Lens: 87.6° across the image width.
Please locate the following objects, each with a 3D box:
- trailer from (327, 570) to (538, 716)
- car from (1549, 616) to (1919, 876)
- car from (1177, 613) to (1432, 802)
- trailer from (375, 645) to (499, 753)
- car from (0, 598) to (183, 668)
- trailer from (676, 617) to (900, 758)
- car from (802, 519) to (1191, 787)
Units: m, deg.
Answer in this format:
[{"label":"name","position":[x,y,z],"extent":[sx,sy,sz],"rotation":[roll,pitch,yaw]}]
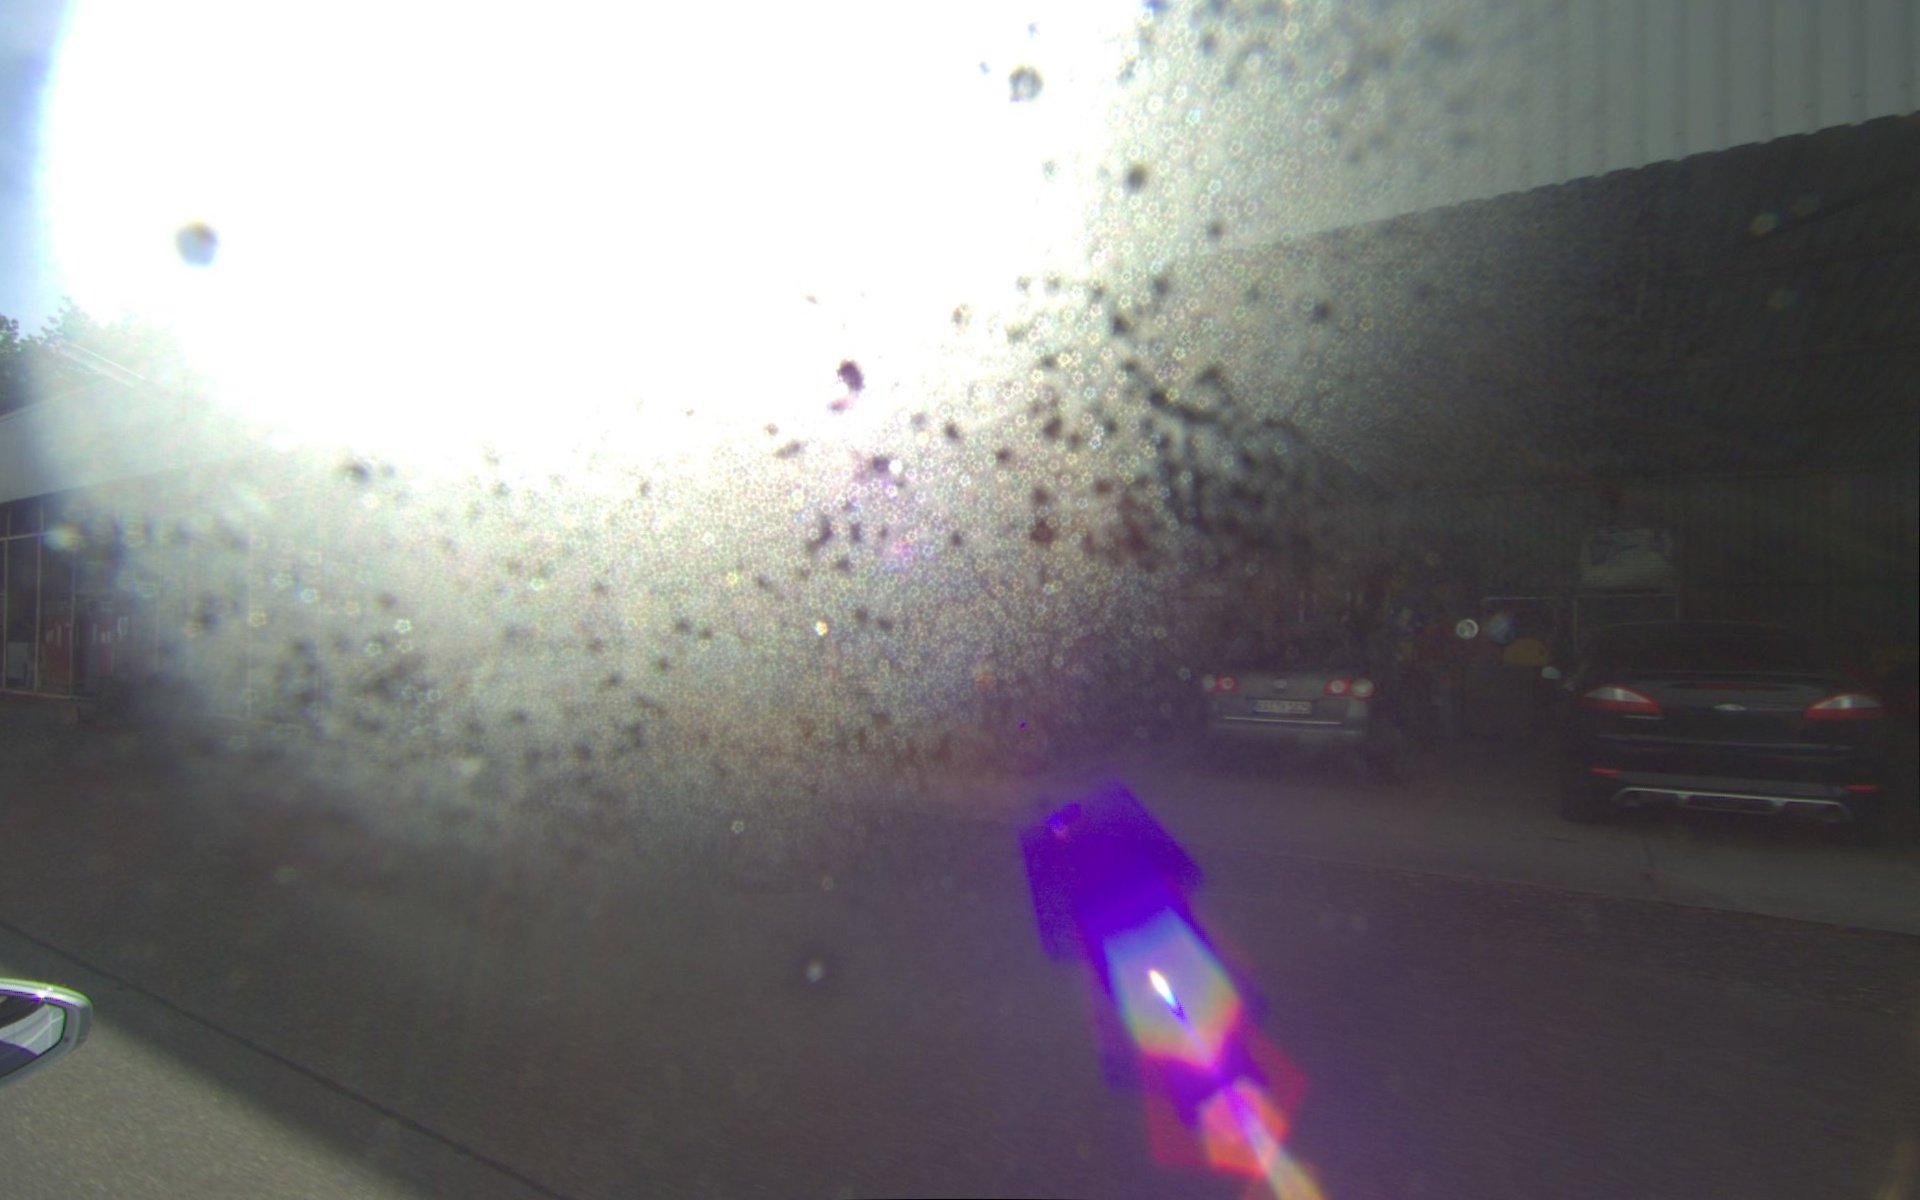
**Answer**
[{"label":"trailer","position":[-8.605,0.666,16.354],"extent":[2.763,2.171,1.917],"rotation":[0,-1,31]},{"label":"car","position":[5.857,0.917,8.040],"extent":[1.841,1.490,4.245],"rotation":[0,-2,29]},{"label":"car","position":[3.717,0.954,10.345],"extent":[1.812,1.533,3.961],"rotation":[-1,-2,29]},{"label":"trailer","position":[-5.968,1.093,11.405],"extent":[1.524,1.133,0.551],"rotation":[-1,-1,31]},{"label":"car","position":[-26.787,1.010,30.325],"extent":[1.967,1.940,4.772],"rotation":[-1,-2,24]},{"label":"trailer","position":[-2.014,0.950,11.921],"extent":[1.716,1.485,2.032],"rotation":[0,-1,37]},{"label":"car","position":[0.750,0.559,11.469],"extent":[2.122,2.310,5.324],"rotation":[-1,-2,32]}]
